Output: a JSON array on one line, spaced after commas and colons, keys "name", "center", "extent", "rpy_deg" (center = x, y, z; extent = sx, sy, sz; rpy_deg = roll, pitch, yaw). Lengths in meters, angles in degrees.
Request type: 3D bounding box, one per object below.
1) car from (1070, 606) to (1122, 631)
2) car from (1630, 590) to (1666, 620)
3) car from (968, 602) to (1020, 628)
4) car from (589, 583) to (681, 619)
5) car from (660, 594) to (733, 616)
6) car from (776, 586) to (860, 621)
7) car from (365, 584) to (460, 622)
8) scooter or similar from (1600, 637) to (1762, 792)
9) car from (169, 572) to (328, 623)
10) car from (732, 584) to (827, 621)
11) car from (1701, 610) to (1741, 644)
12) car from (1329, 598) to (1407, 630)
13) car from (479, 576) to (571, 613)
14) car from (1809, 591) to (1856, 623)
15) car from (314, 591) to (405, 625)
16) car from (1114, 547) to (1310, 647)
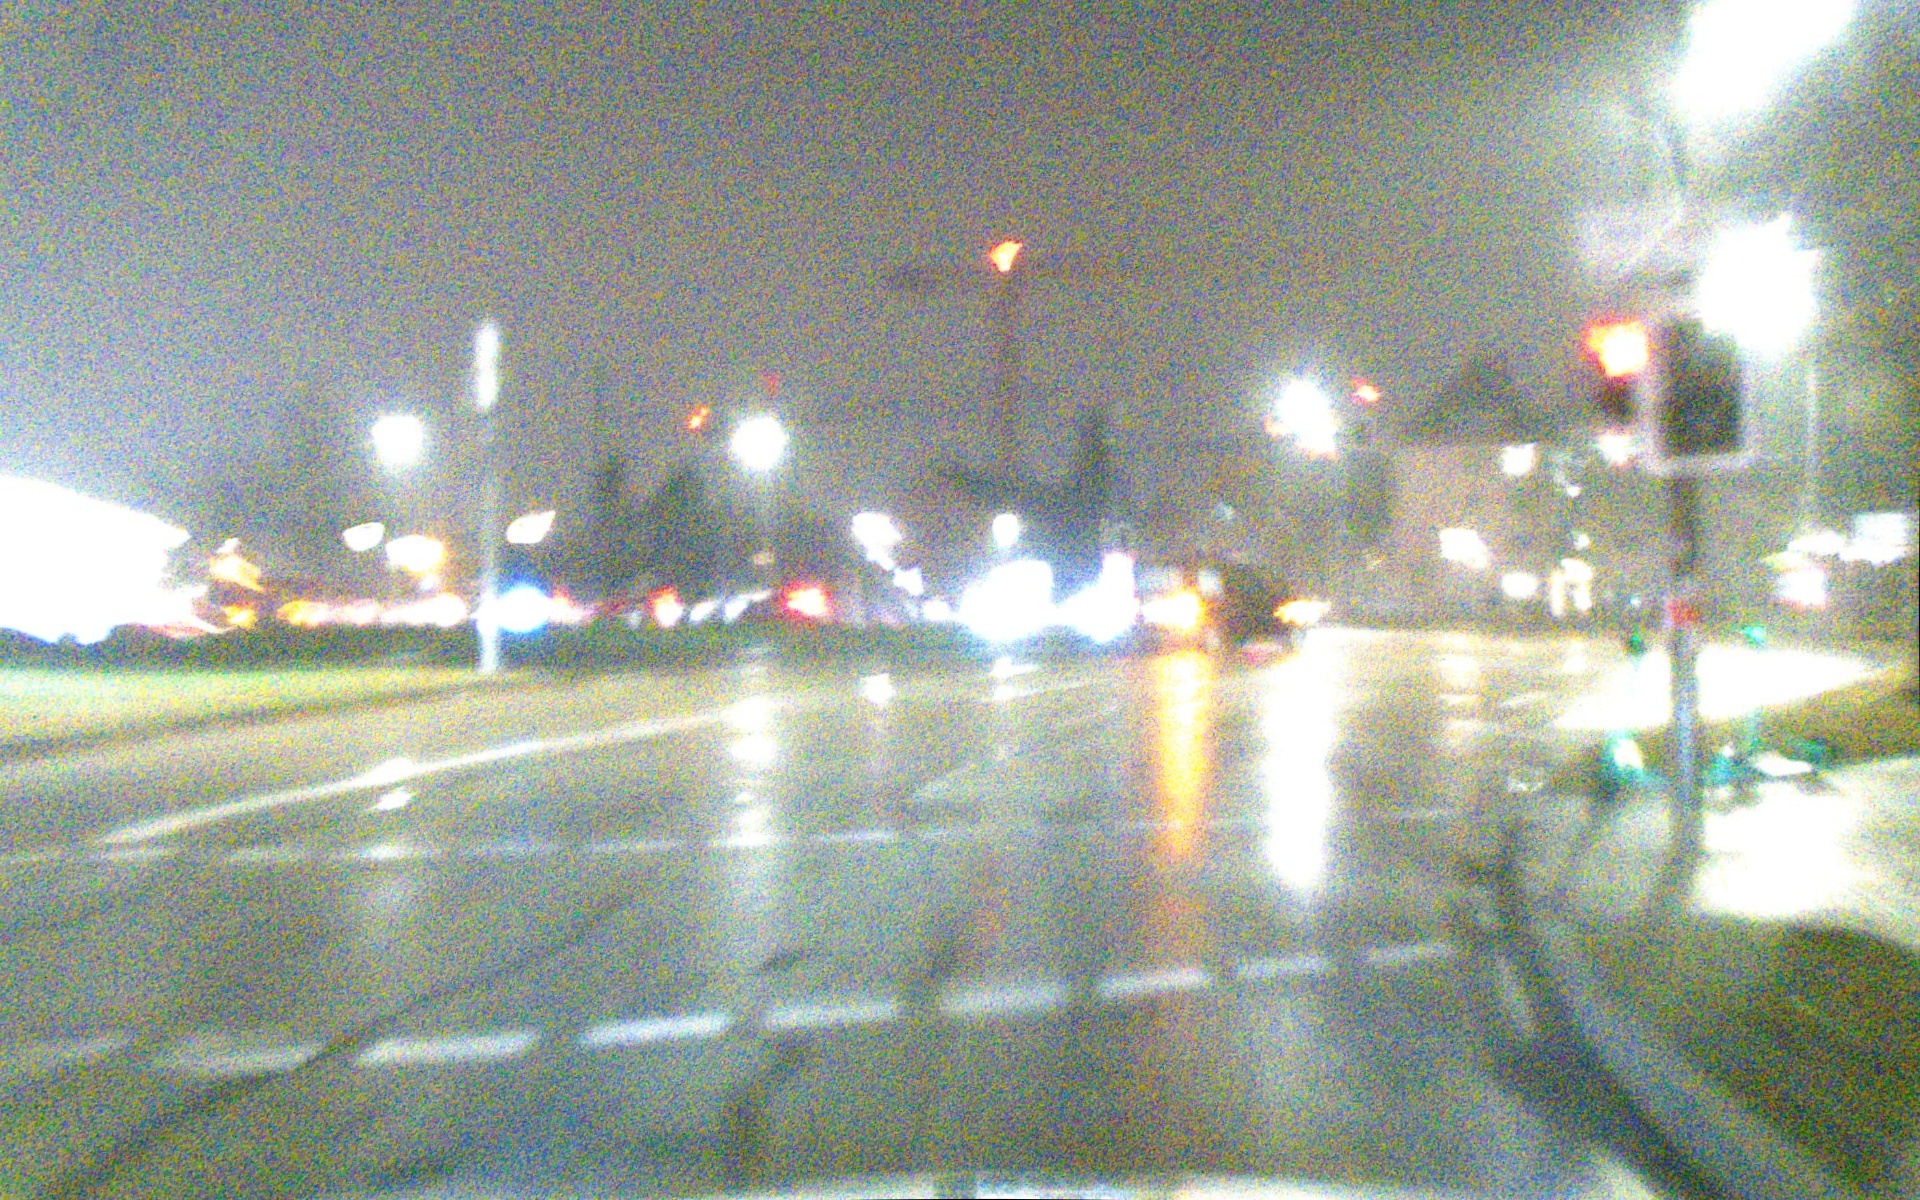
[{"name": "car", "center": [10.243, 1.374, 124.302], "extent": [1.959, 1.766, 4.606], "rpy_deg": [1, 0, 33]}, {"name": "car", "center": [36.009, 0.268, 86.583], "extent": [1.681, 1.523, 3.911], "rpy_deg": [1, 0, 22]}, {"name": "car", "center": [2.298, 0.985, 111.056], "extent": [1.823, 1.668, 3.883], "rpy_deg": [1, 0, 30]}, {"name": "car", "center": [-15.085, 0.037, 76.898], "extent": [3.871, 1.606, 1.876], "rpy_deg": [1, 0, -1]}, {"name": "car", "center": [-13.294, 0.267, 83.566], "extent": [3.547, 1.049, 1.473], "rpy_deg": [1, 0, -6]}, {"name": "car", "center": [-6.744, 0.158, 78.727], "extent": [3.542, 1.606, 1.737], "rpy_deg": [1, 0, 21]}, {"name": "car", "center": [-25.193, 0.127, 76.203], "extent": [3.918, 1.644, 1.831], "rpy_deg": [1, 0, -13]}, {"name": "scooter or similar", "center": [5.371, 0.841, 12.355], "extent": [1.078, 1.117, 0.318], "rpy_deg": [-1, -1, 23]}, {"name": "car", "center": [-31.549, -0.110, 73.372], "extent": [6.227, 2.126, 2.490], "rpy_deg": [1, 0, -30]}, {"name": "car", "center": [-8.282, 0.109, 75.901], "extent": [3.905, 1.644, 1.837], "rpy_deg": [1, 0, 21]}, {"name": "car", "center": [39.014, 1.402, 84.857], "extent": [1.681, 1.523, 3.910], "rpy_deg": [0, -4, 22]}, {"name": "car", "center": [23.094, 0.795, 93.708], "extent": [3.915, 1.713, 1.914], "rpy_deg": [1, 0, 32]}, {"name": "car", "center": [-20.136, -0.259, 76.601], "extent": [3.877, 1.606, 1.734], "rpy_deg": [1, 0, -7]}, {"name": "car", "center": [43.689, 0.346, 82.916], "extent": [1.681, 1.523, 3.911], "rpy_deg": [1, 0, 22]}, {"name": "car", "center": [-28.803, 0.376, 79.433], "extent": [3.919, 1.512, 1.763], "rpy_deg": [1, 0, -14]}, {"name": "car", "center": [5.586, -0.048, 36.330], "extent": [4.524, 2.049, 1.967], "rpy_deg": [1, 0, -45]}]
